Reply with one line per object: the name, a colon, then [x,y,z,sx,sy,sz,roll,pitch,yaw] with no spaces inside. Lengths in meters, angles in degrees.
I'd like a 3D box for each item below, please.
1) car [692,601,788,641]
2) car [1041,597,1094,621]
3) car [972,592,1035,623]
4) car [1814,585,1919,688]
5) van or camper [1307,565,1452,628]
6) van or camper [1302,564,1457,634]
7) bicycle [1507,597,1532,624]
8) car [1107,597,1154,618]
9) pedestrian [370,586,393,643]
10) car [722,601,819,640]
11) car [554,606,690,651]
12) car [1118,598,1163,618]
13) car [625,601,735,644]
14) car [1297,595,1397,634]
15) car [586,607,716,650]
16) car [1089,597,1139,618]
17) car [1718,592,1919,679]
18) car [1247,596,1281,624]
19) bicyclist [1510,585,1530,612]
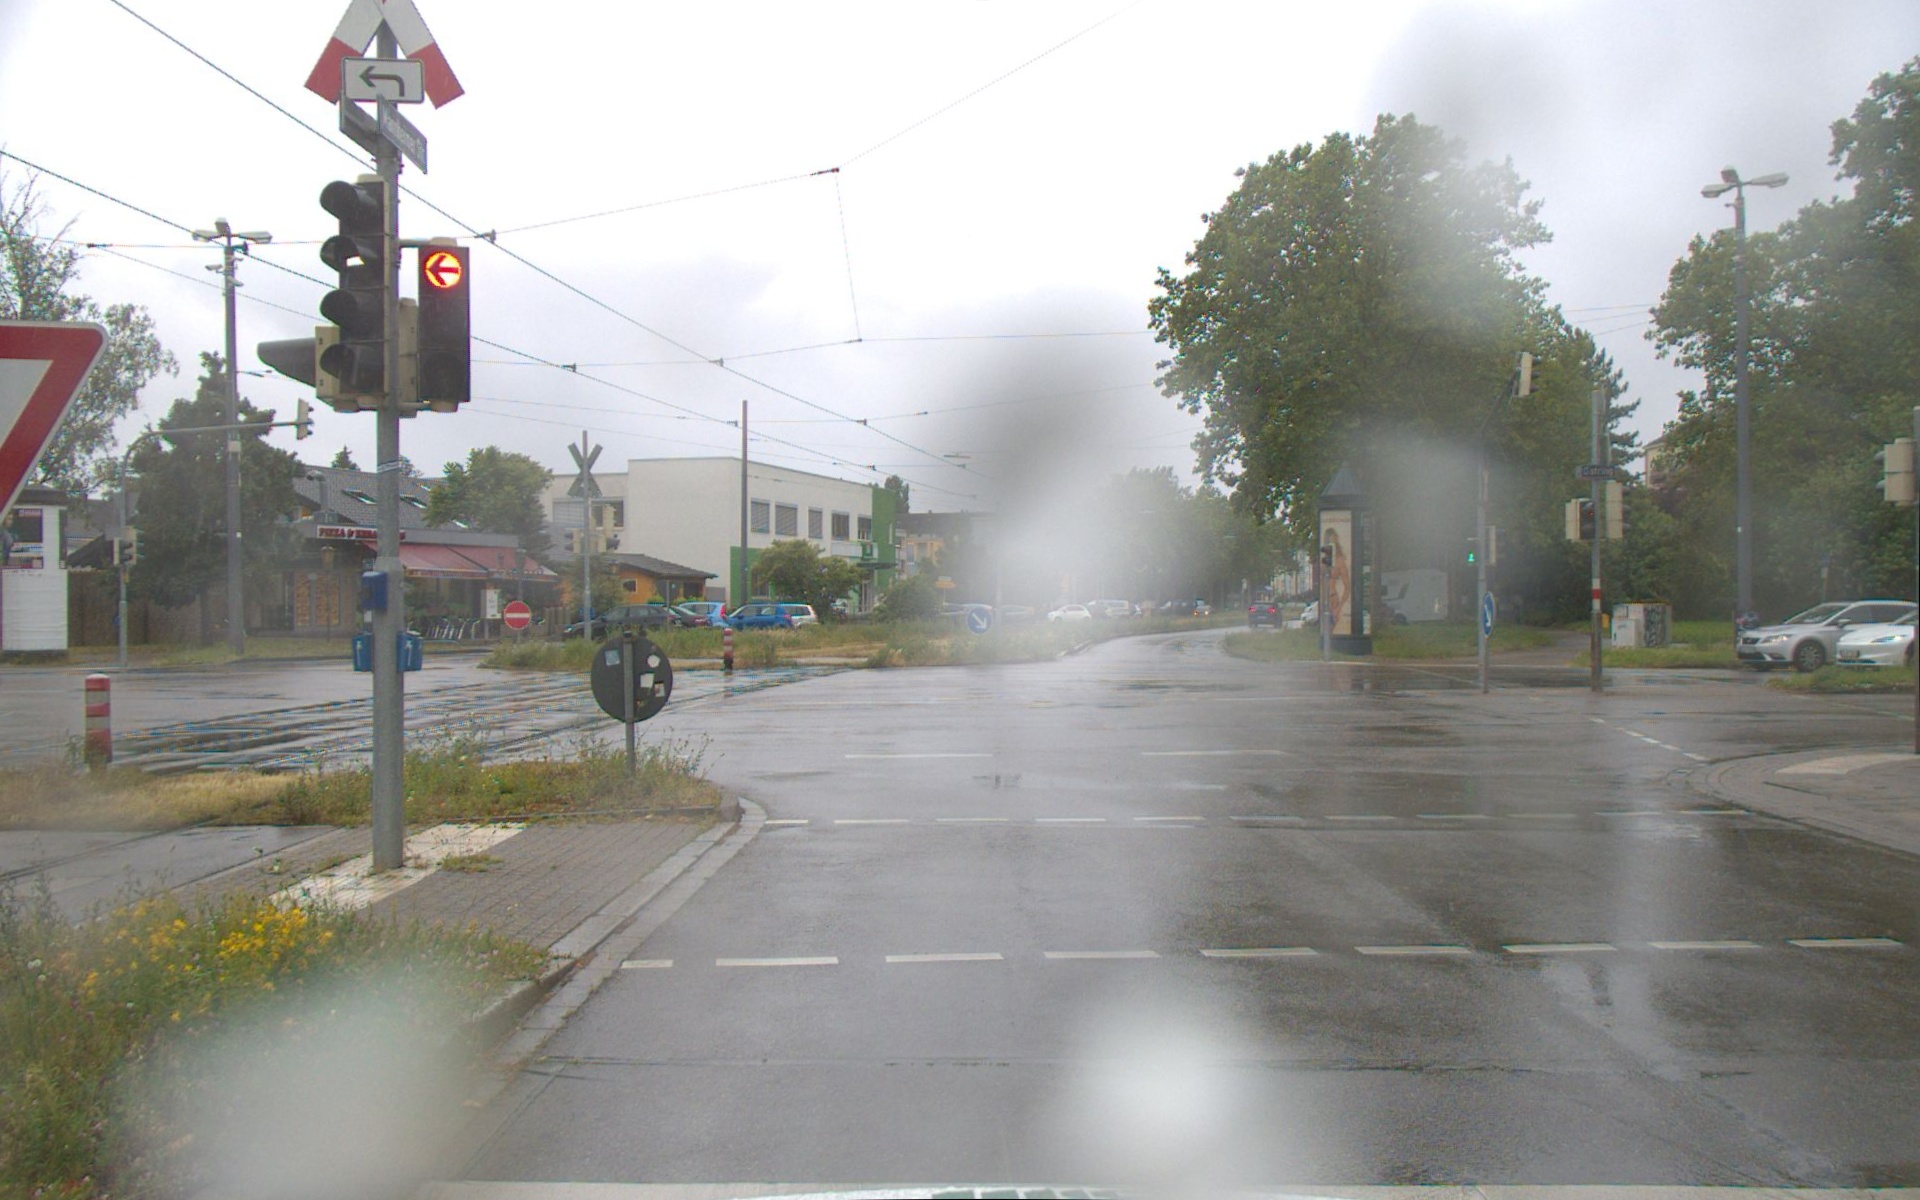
car: [-9.270,0.876,69.583,3.916,1.609,1.924,0,0,-12]
car: [8.267,0.686,126.886,3.706,1.732,1.832,1,0,-11]
car: [2.883,0.500,110.099,3.911,1.920,1.997,1,0,-7]
car: [18.873,0.702,31.307,4.506,1.860,1.931,1,0,-7]
van or camper: [22.841,-0.202,90.027,7.274,3.234,3.262,1,0,22]
van or camper: [20.520,-0.044,80.851,7.168,3.234,3.264,1,0,17]
bicycle: [30.733,0.564,90.826,0.843,1.450,2.705,1,0,9]
car: [15.882,0.691,154.080,3.916,1.864,1.994,1,0,-12]
pedestrian: [-21.117,0.529,60.353,0.713,2.049,0.789,1,-1,-23]
car: [-8.360,0.875,72.774,4.040,1.670,1.922,0,0,-15]
car: [-11.980,0.993,58.794,4.385,1.443,1.858,-2,0,0]
car: [17.355,0.738,159.172,3.909,1.864,1.998,1,0,-5]
car: [-10.890,0.874,64.550,3.903,1.609,1.859,0,0,4]
car: [18.230,0.659,77.847,4.352,1.747,2.000,1,0,21]
car: [-11.402,1.027,61.209,4.405,1.443,1.858,-2,0,0]
car: [13.524,0.650,145.081,3.916,1.789,2.004,1,0,-12]
car: [18.440,0.730,34.644,4.309,1.721,1.931,1,0,-7]
car: [19.089,0.610,103.763,1.768,1.716,3.914,1,0,15]
bicyclist: [30.738,-0.081,90.807,0.843,1.450,0.957,1,0,9]
